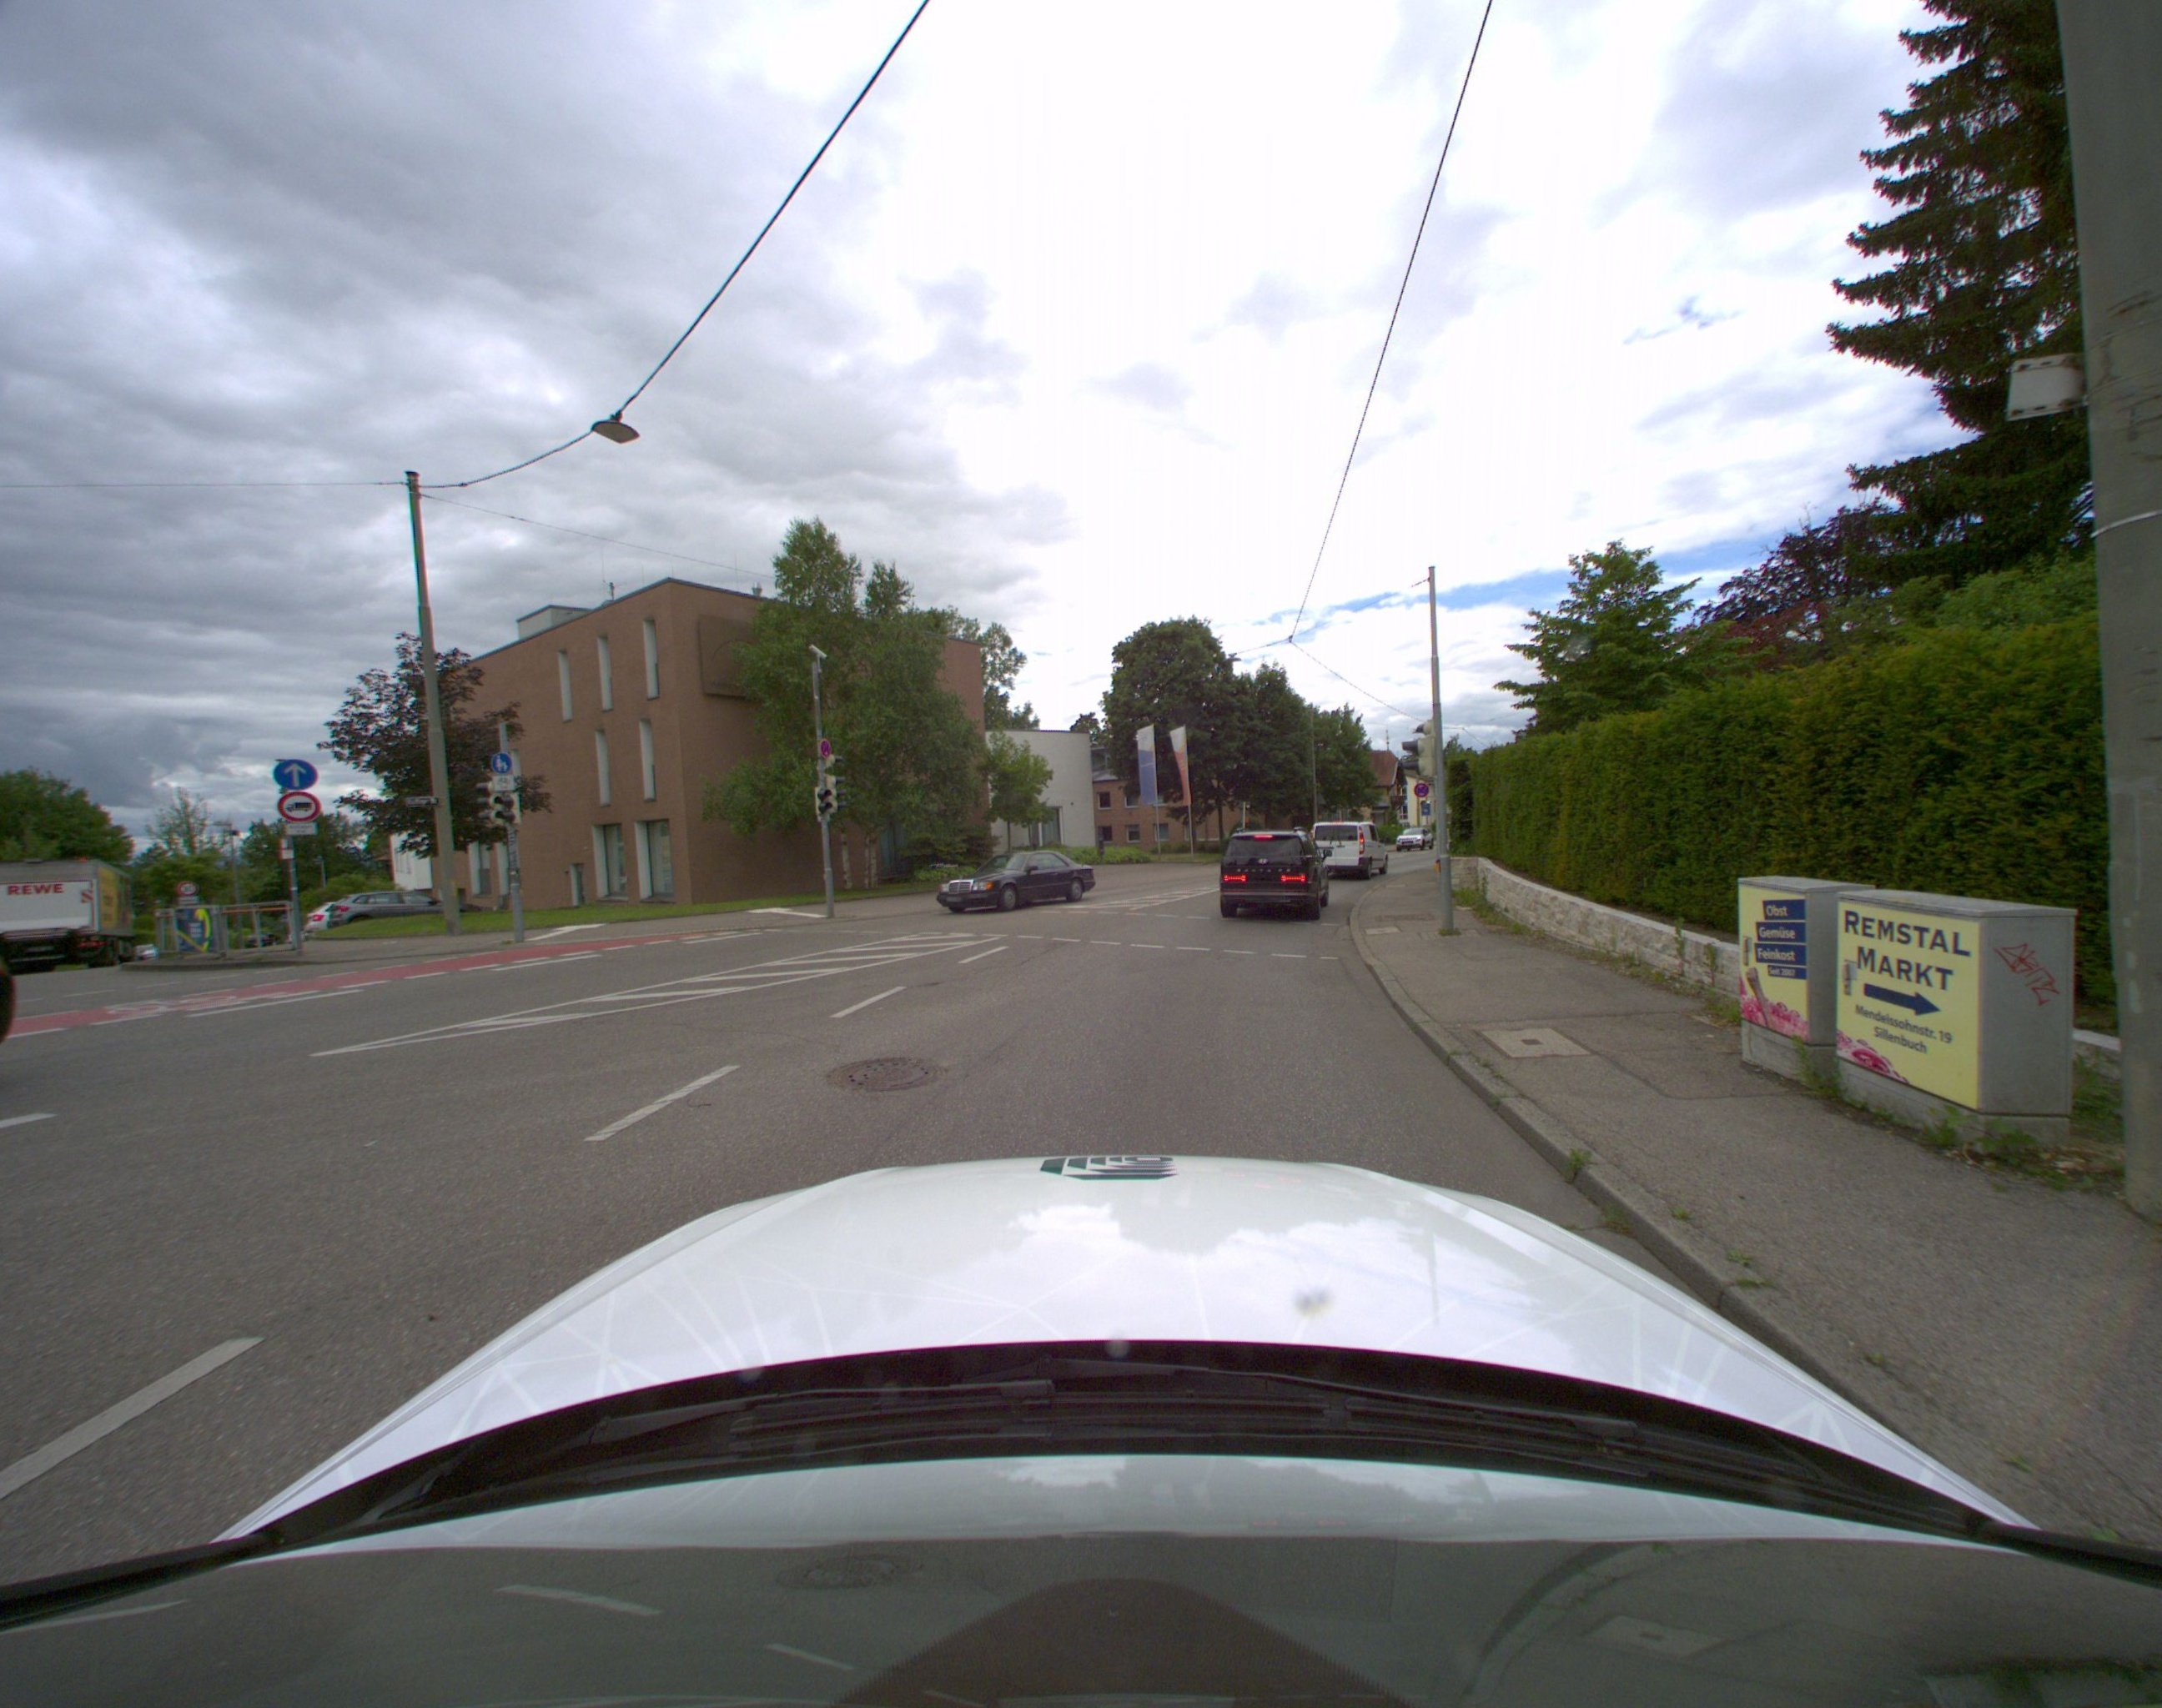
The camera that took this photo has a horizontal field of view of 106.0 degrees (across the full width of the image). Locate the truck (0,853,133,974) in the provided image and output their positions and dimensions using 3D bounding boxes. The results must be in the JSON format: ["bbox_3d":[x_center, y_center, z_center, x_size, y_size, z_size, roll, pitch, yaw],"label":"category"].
[{"bbox_3d":[-36.956,2.184,29.365,8.208,3.798,3.038,-5,-2,44],"label":"truck"}]

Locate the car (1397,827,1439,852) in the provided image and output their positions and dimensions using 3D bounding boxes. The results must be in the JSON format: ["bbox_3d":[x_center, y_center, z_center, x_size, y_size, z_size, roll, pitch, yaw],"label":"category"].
[{"bbox_3d":[22.226,-0.968,53.632,1.679,1.440,3.781,-4,0,35],"label":"car"}]

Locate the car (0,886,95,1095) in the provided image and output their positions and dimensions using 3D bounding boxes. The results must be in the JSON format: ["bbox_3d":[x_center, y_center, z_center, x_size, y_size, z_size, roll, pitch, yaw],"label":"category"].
[{"bbox_3d":[-9.015,1.054,3.873,1.979,1.422,5.078,-3,1,14],"label":"car"}]

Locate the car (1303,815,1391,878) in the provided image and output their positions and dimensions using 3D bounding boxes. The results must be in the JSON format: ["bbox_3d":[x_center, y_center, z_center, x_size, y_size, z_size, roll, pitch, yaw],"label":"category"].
[{"bbox_3d":[9.165,-0.251,27.818,1.938,1.956,4.250,-1,0,31],"label":"car"}]

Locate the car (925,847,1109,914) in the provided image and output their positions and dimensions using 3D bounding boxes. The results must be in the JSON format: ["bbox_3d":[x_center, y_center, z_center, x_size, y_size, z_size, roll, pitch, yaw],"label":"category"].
[{"bbox_3d":[-1.414,0.588,20.170,1.828,1.328,4.900,-3,0,34],"label":"car"}]

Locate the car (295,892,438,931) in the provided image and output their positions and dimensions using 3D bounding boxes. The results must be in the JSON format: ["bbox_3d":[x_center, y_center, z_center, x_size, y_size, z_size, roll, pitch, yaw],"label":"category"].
[{"bbox_3d":[-27.585,2.200,31.544,1.763,1.090,3.871,-3,1,39],"label":"car"}]

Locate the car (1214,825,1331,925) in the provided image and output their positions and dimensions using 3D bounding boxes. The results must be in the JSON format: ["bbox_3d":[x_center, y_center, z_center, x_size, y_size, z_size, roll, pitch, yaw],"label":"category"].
[{"bbox_3d":[4.091,0.303,16.897,1.941,1.712,4.245,1,3,19],"label":"car"}]

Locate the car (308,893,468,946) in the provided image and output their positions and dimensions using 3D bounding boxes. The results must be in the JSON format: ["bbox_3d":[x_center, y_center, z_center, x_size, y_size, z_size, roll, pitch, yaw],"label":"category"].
[{"bbox_3d":[-24.355,2.253,28.740,1.763,1.521,4.031,-3,-1,39],"label":"car"}]
